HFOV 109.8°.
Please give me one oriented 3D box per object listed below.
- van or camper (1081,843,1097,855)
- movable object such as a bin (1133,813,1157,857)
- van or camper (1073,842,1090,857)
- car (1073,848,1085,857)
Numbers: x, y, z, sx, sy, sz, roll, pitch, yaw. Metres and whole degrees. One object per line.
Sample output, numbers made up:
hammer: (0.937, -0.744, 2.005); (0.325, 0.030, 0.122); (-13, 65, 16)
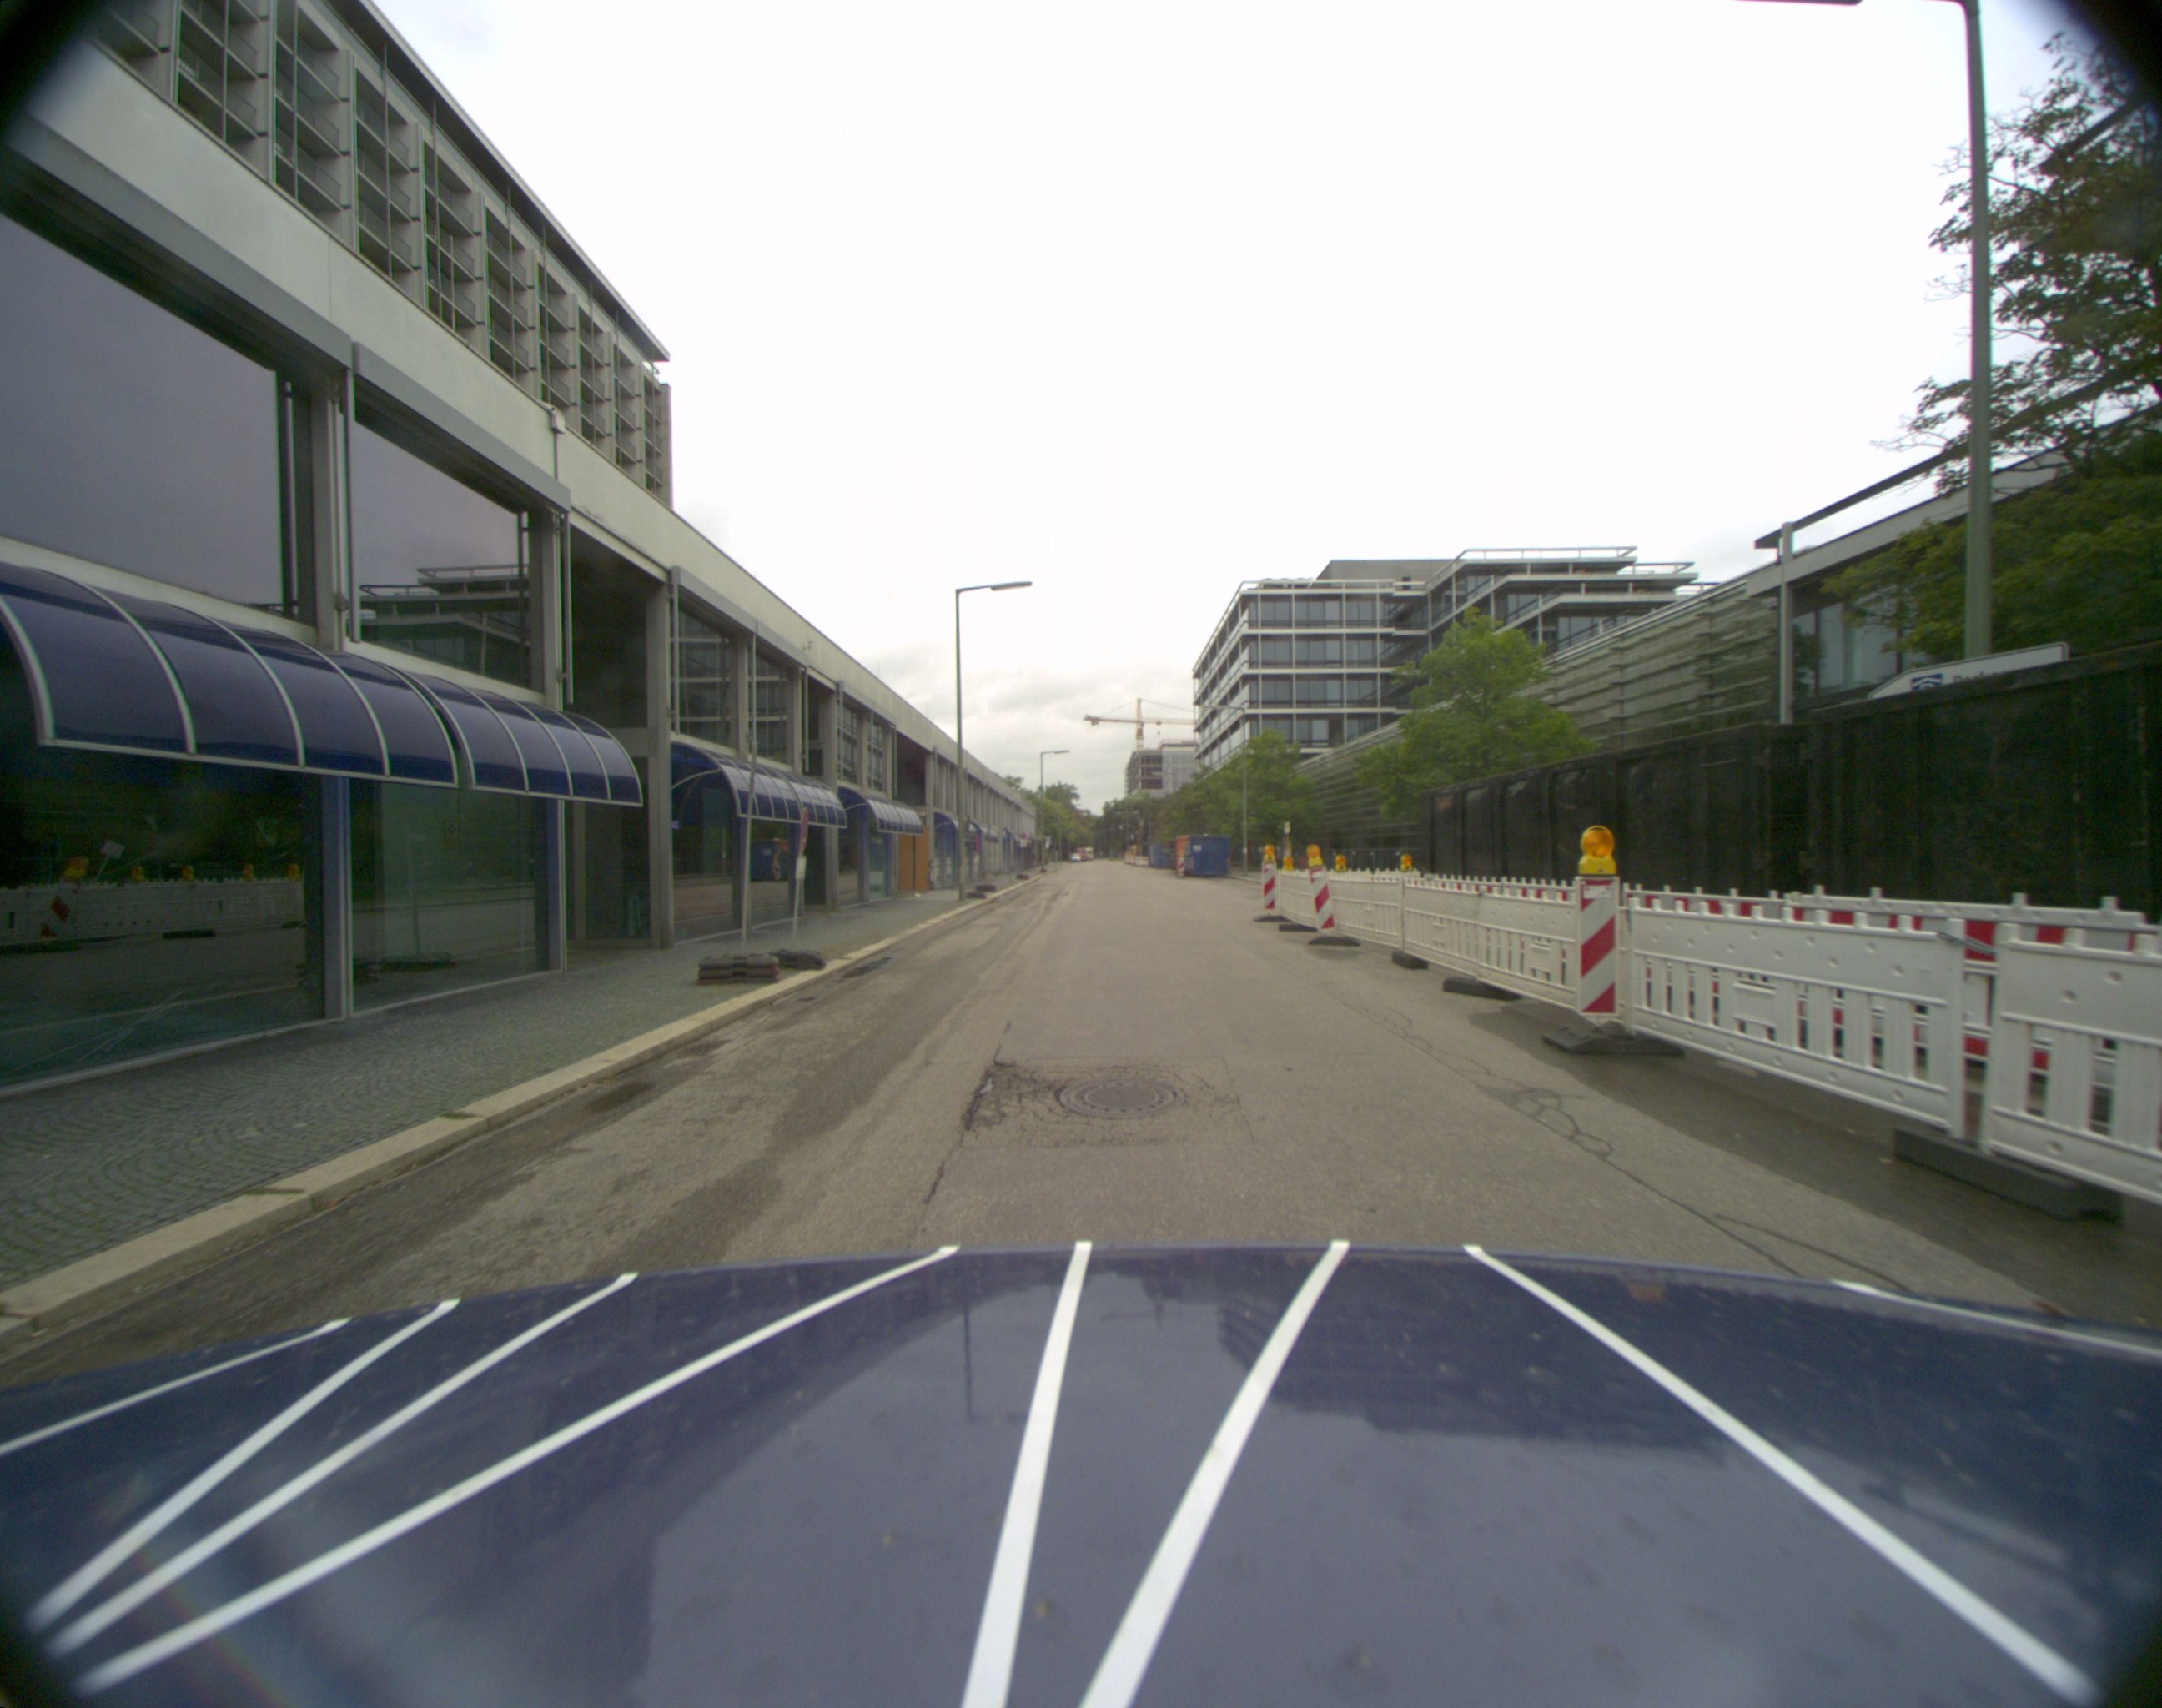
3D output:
van or camper: (1.642, -0.985, 159.355); (2.665, 2.436, 6.448); (-1, 1, 7)
movable object such as a bin: (9.427, -2.740, 112.634); (3.241, 6.286, 8.337); (-1, 1, 3)
van or camper: (0.176, -0.939, 145.074); (2.666, 2.751, 6.916); (-1, 1, 4)
car: (-0.321, -0.301, 138.813); (1.912, 1.627, 4.000); (-1, 1, 3)
